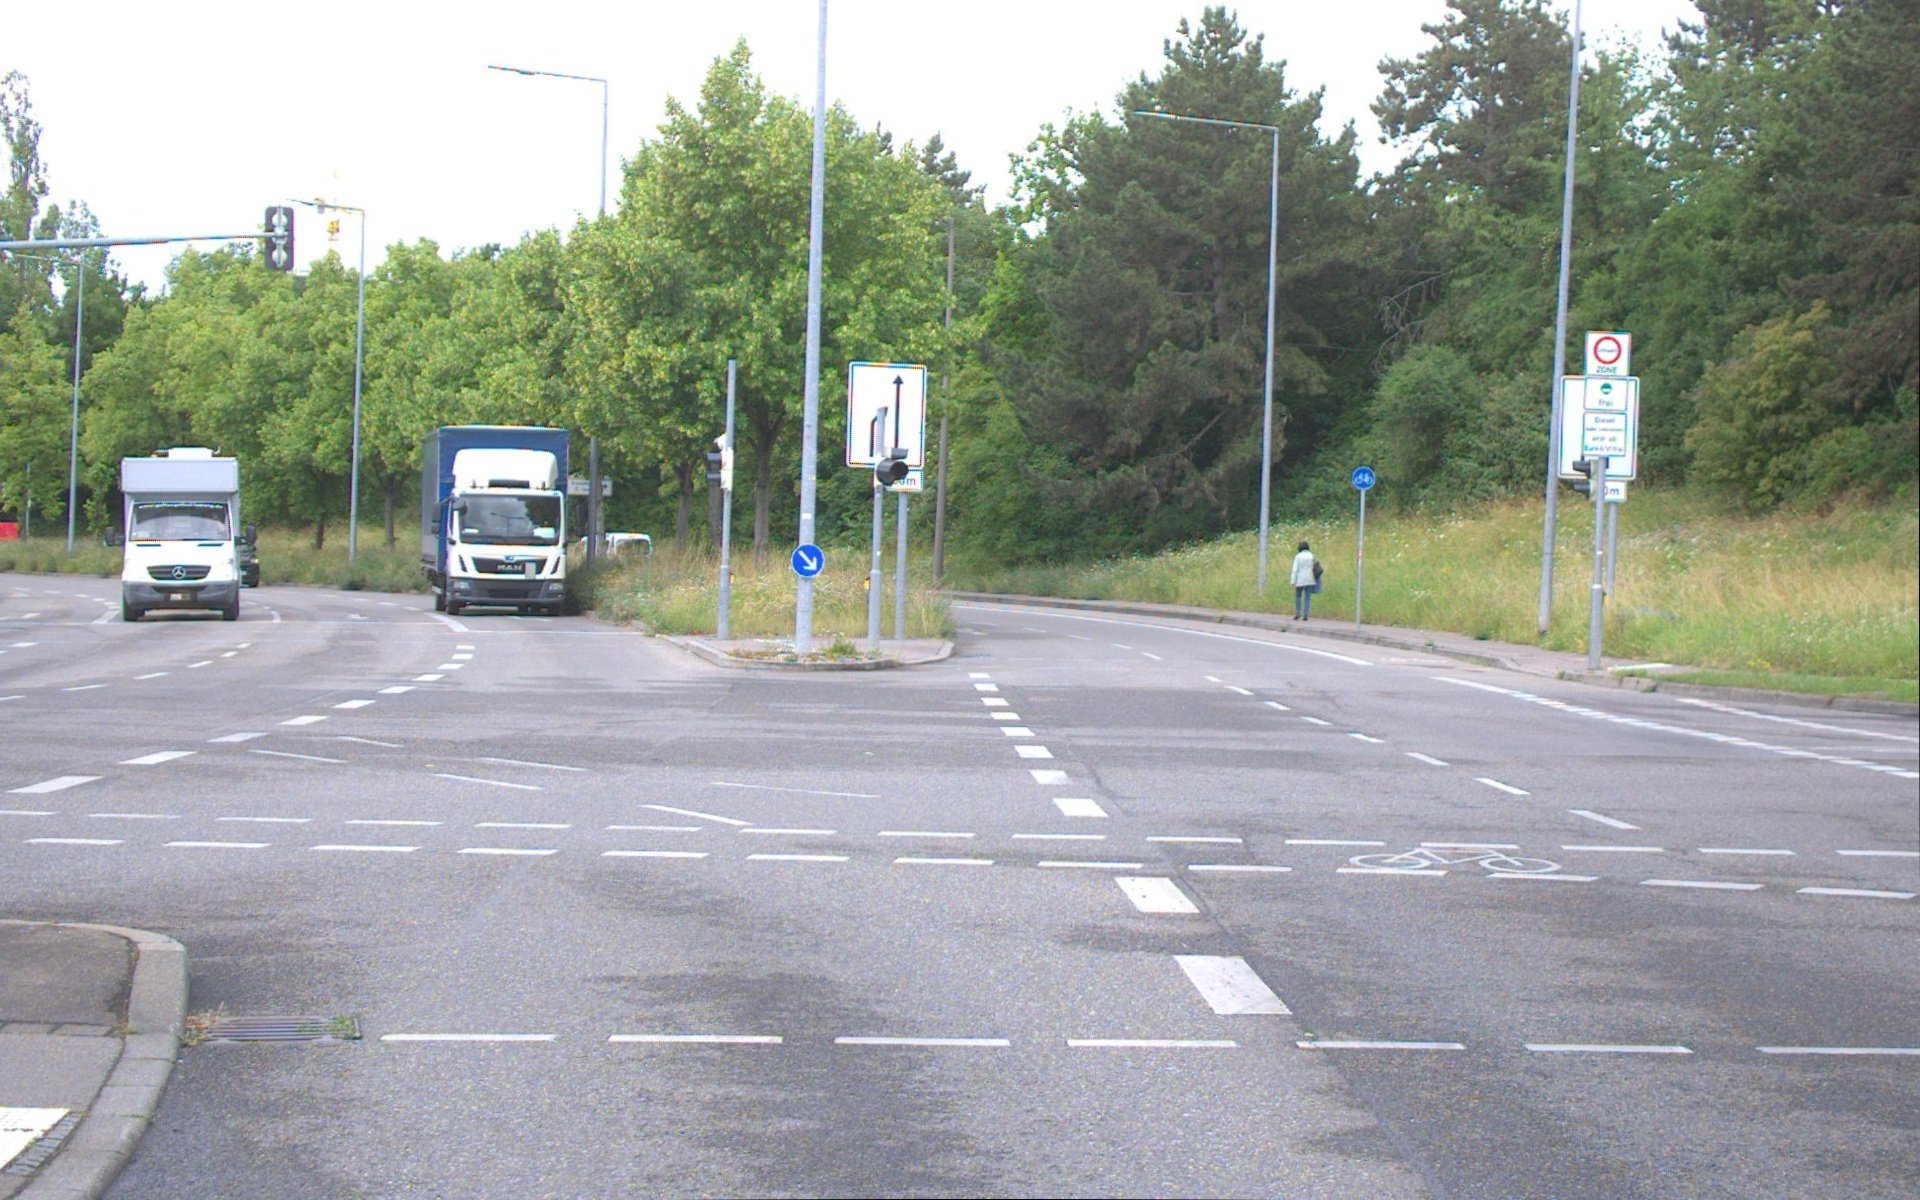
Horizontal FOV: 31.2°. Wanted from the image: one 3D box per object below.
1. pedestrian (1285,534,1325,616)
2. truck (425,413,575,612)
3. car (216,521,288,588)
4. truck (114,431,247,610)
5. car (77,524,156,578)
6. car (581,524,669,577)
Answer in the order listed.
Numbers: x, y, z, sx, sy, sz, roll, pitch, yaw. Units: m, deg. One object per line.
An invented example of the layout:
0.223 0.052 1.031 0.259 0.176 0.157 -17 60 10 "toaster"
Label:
7.216 -0.527 71.938 0.739 1.711 0.625 1 1 -1 "pedestrian"
-9.518 -1.765 70.453 2.778 3.791 8.391 1 1 -9 "truck"
-21.852 -1.425 105.996 1.993 2.007 4.610 0 1 -14 "car"
-14.108 -1.426 62.436 2.104 3.000 6.275 -3 1 -12 "truck"
-28.914 -1.696 117.800 1.993 1.777 4.001 0 1 -23 "car"
-11.224 -1.672 114.994 1.993 1.722 3.728 0 1 -21 "car"
